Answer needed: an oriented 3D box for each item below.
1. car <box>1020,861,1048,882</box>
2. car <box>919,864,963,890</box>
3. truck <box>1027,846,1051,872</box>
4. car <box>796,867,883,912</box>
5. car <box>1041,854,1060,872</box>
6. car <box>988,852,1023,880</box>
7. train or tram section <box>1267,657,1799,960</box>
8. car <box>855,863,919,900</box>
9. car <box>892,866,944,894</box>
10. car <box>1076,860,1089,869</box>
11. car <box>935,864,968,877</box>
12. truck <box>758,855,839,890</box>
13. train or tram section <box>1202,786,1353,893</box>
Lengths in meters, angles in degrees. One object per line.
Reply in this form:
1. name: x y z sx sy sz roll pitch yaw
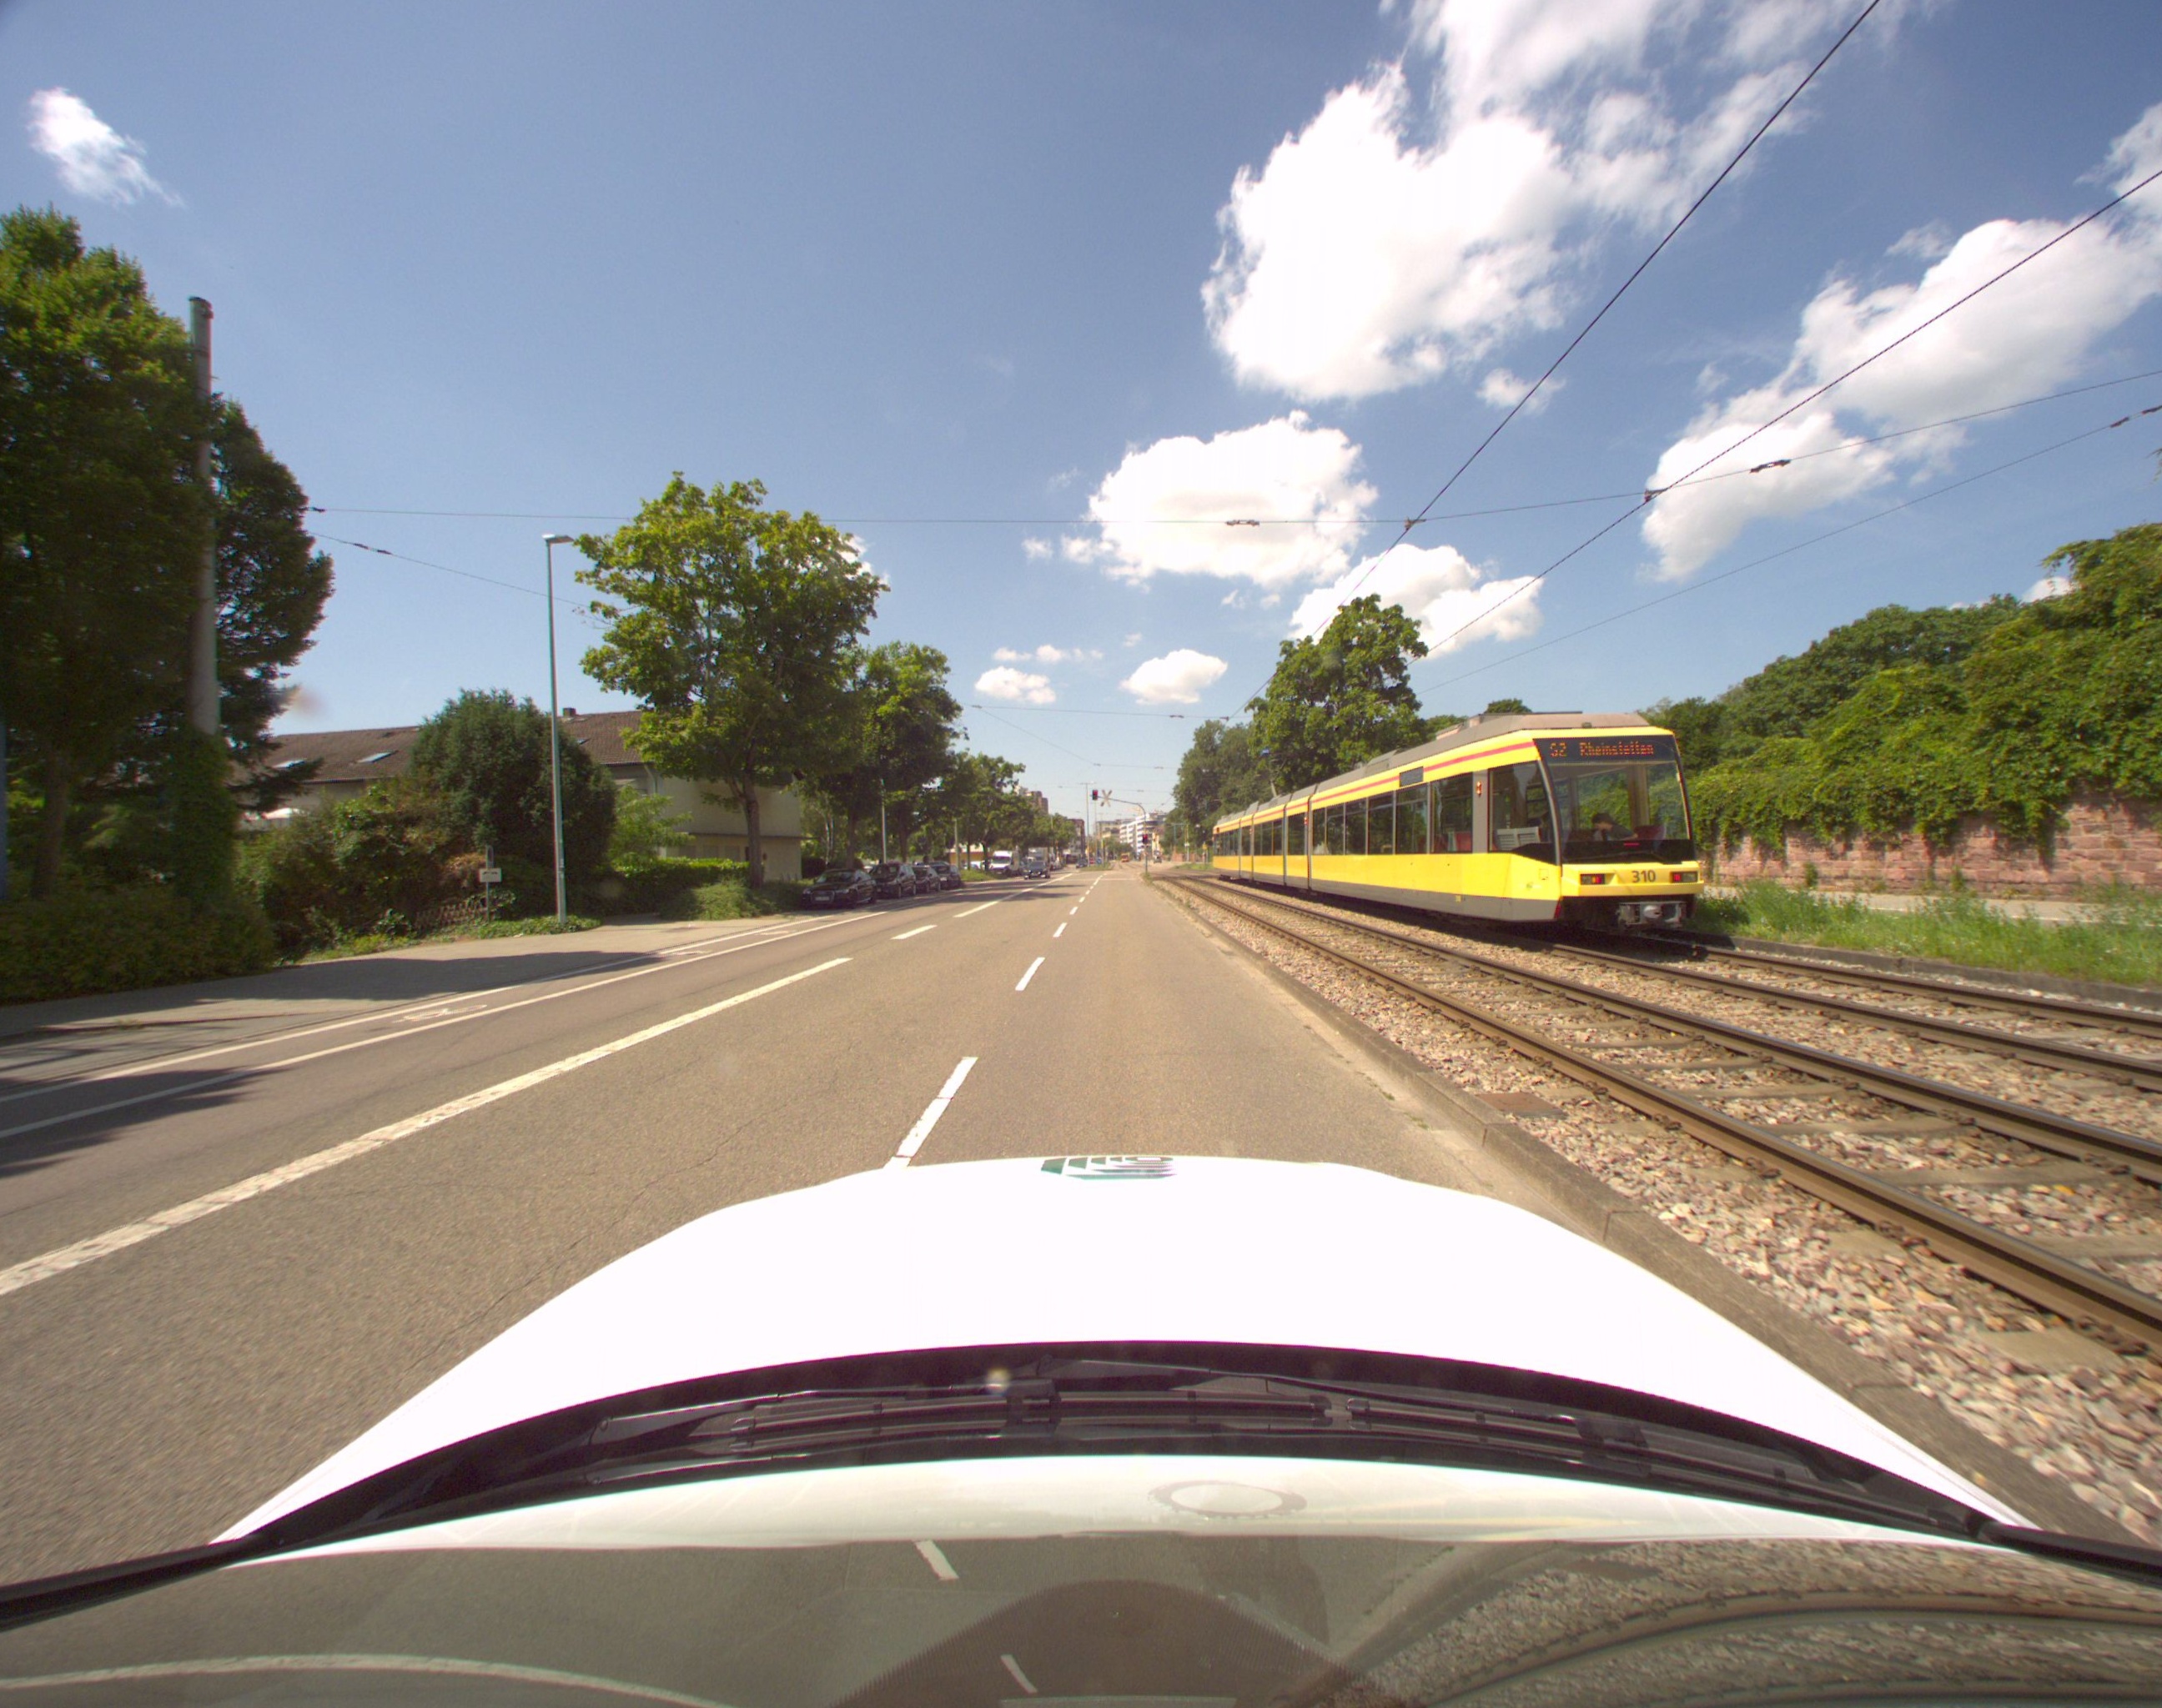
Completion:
1. car: -3.563 1.302 62.916 1.768 1.460 4.196 -3 0 1
2. car: -8.317 1.352 48.614 1.767 1.481 4.050 0 0 2
3. truck: -5.418 0.677 106.692 2.146 3.210 7.092 1 0 5
4. car: -9.098 1.287 31.072 1.768 1.456 4.805 -2 0 1
5. car: -4.518 1.293 121.878 2.146 2.639 5.619 1 0 5
6. car: -7.240 1.135 78.615 2.146 2.487 6.201 -2 0 5
7. train or tram section: 7.665 -0.538 19.242 2.932 3.692 18.397 -1 0 2
8. car: -8.996 1.227 38.075 1.768 1.604 4.638 -1 0 1
9. car: -8.693 1.359 43.906 1.768 1.373 4.697 0 0 1
10. car: 0.276 1.701 132.797 1.670 1.398 4.011 -4 0 5
11. car: -17.157 2.210 108.327 3.972 1.606 1.806 -2 -1 1
12. truck: -28.219 1.837 81.527 7.163 3.228 2.332 -2 -1 0
13. train or tram section: 8.356 -0.479 38.598 2.932 3.692 20.292 -1 0 2
